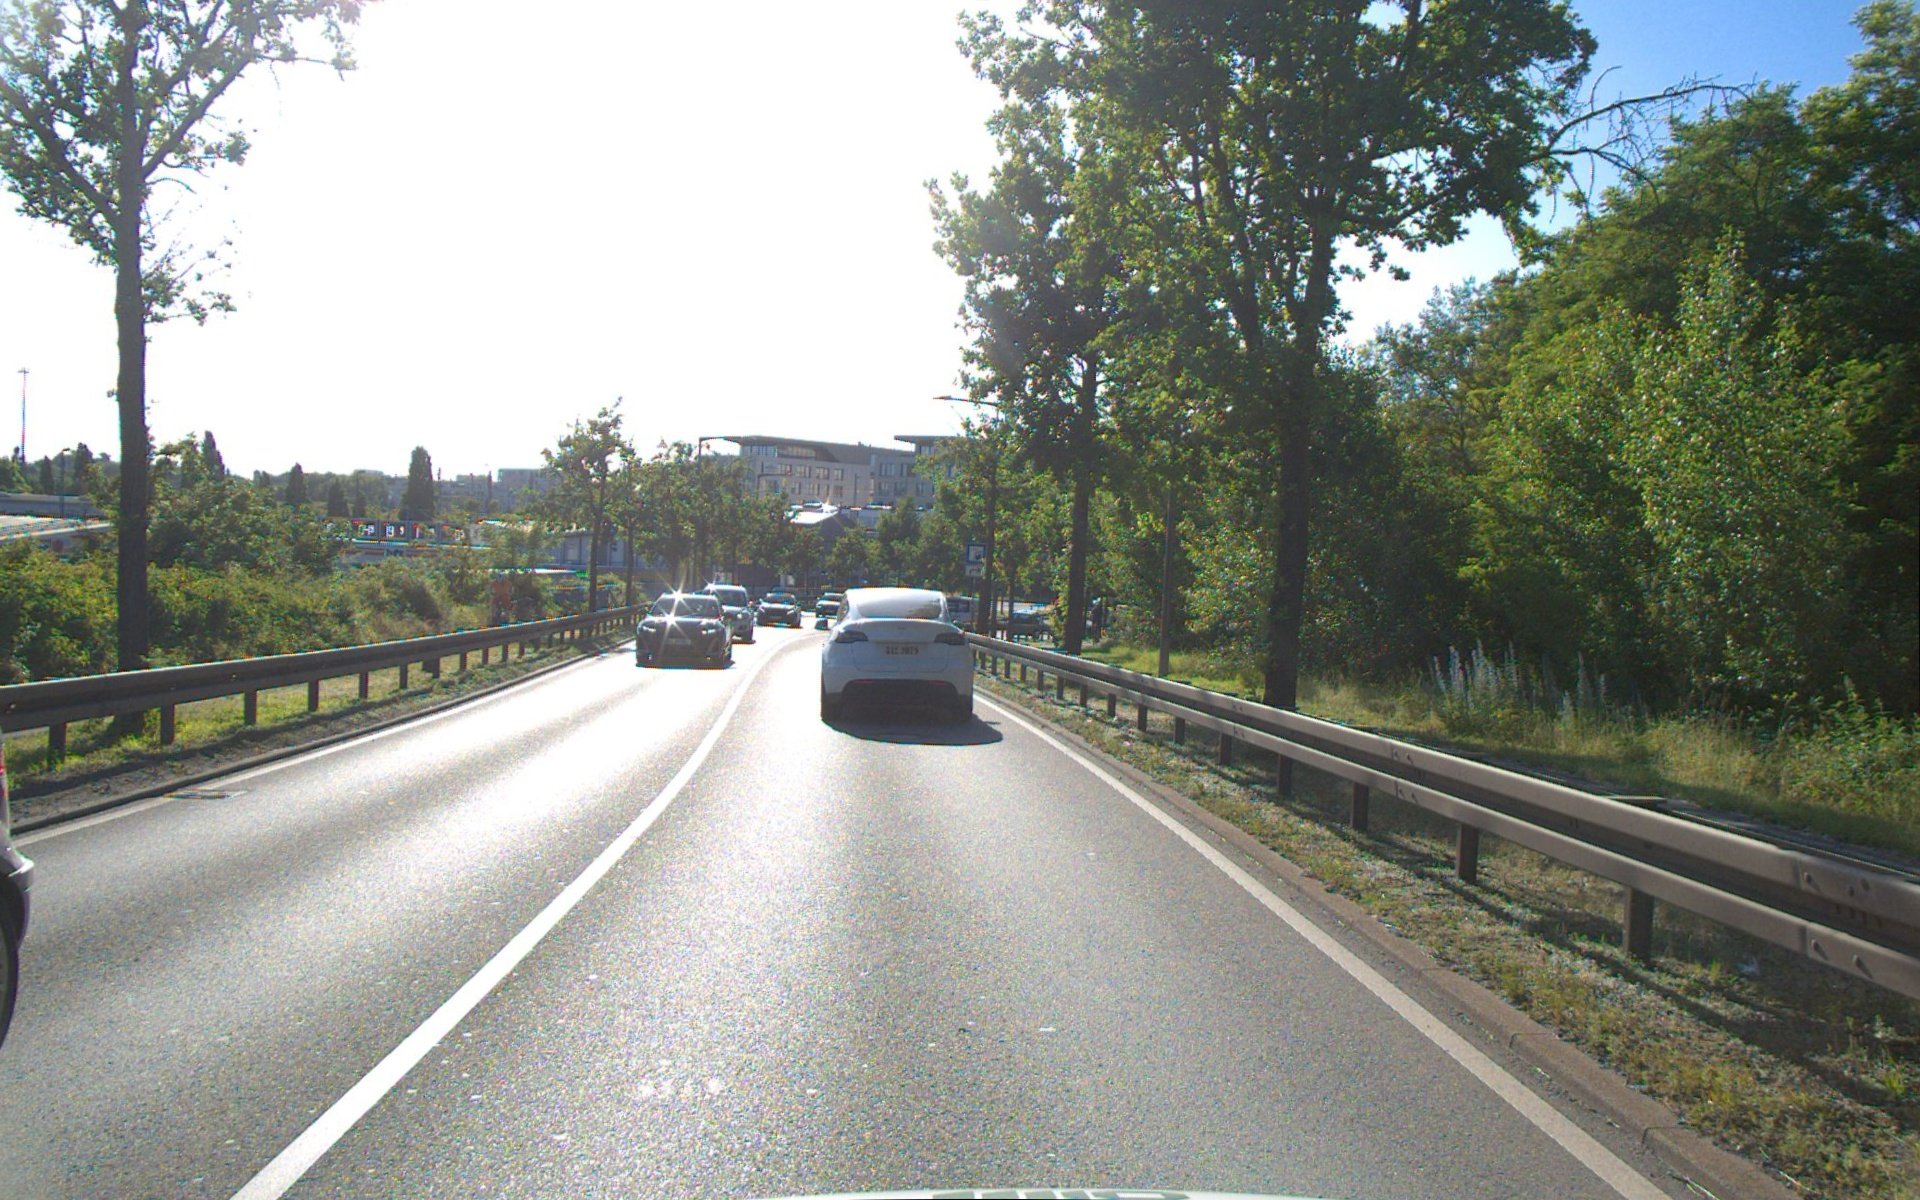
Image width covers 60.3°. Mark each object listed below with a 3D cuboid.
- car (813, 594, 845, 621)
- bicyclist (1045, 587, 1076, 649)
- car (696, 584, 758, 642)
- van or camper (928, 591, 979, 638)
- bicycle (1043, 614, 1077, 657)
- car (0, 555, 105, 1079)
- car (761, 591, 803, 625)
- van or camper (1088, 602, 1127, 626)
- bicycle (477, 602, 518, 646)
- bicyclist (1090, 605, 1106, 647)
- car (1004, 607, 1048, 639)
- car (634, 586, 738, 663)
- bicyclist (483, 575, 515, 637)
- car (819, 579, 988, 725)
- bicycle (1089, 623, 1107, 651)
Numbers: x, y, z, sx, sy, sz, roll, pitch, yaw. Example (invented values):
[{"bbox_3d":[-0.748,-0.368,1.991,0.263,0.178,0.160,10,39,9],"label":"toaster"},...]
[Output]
[{"bbox_3d":[-8.081,0.445,102.271,1.773,1.523,4.366,1,0,-3],"label":"car"},{"bbox_3d":[2.671,0.493,43.948,0.692,1.606,1.005,1,-1,9],"label":"bicyclist"},{"bbox_3d":[-7.213,0.377,51.424,1.695,1.687,3.977,1,0,-6],"label":"car"},{"bbox_3d":[-0.242,0.588,70.666,1.918,1.916,4.881,1,0,2],"label":"van or camper"},{"bbox_3d":[2.660,0.957,43.964,0.686,1.093,1.922,1,-2,9],"label":"bicycle"},{"bbox_3d":[-3.673,0.643,3.471,1.773,1.581,4.137,1,0,-4],"label":"car"},{"bbox_3d":[-8.079,0.337,75.376,1.658,1.466,4.213,1,0,-4],"label":"car"},{"bbox_3d":[12.428,1.189,139.067,1.790,1.821,4.542,5,2,24],"label":"van or camper"},{"bbox_3d":[-12.365,0.624,44.239,0.647,1.114,2.106,1,0,-5],"label":"bicycle"},{"bbox_3d":[5.964,1.113,71.449,0.661,1.807,0.949,1,0,6],"label":"bicyclist"},{"bbox_3d":[3.599,1.214,90.044,1.570,1.459,3.682,4,3,14],"label":"car"},{"bbox_3d":[-5.857,0.477,35.812,1.813,1.518,4.712,1,0,-5],"label":"car"},{"bbox_3d":[-12.366,0.154,44.406,0.639,1.651,0.873,1,0,-6],"label":"bicyclist"},{"bbox_3d":[-0.847,0.597,21.587,1.877,1.669,4.405,1,0,-6],"label":"car"},{"bbox_3d":[5.972,1.579,71.403,0.680,1.114,2.119,1,0,6],"label":"bicycle"}]
